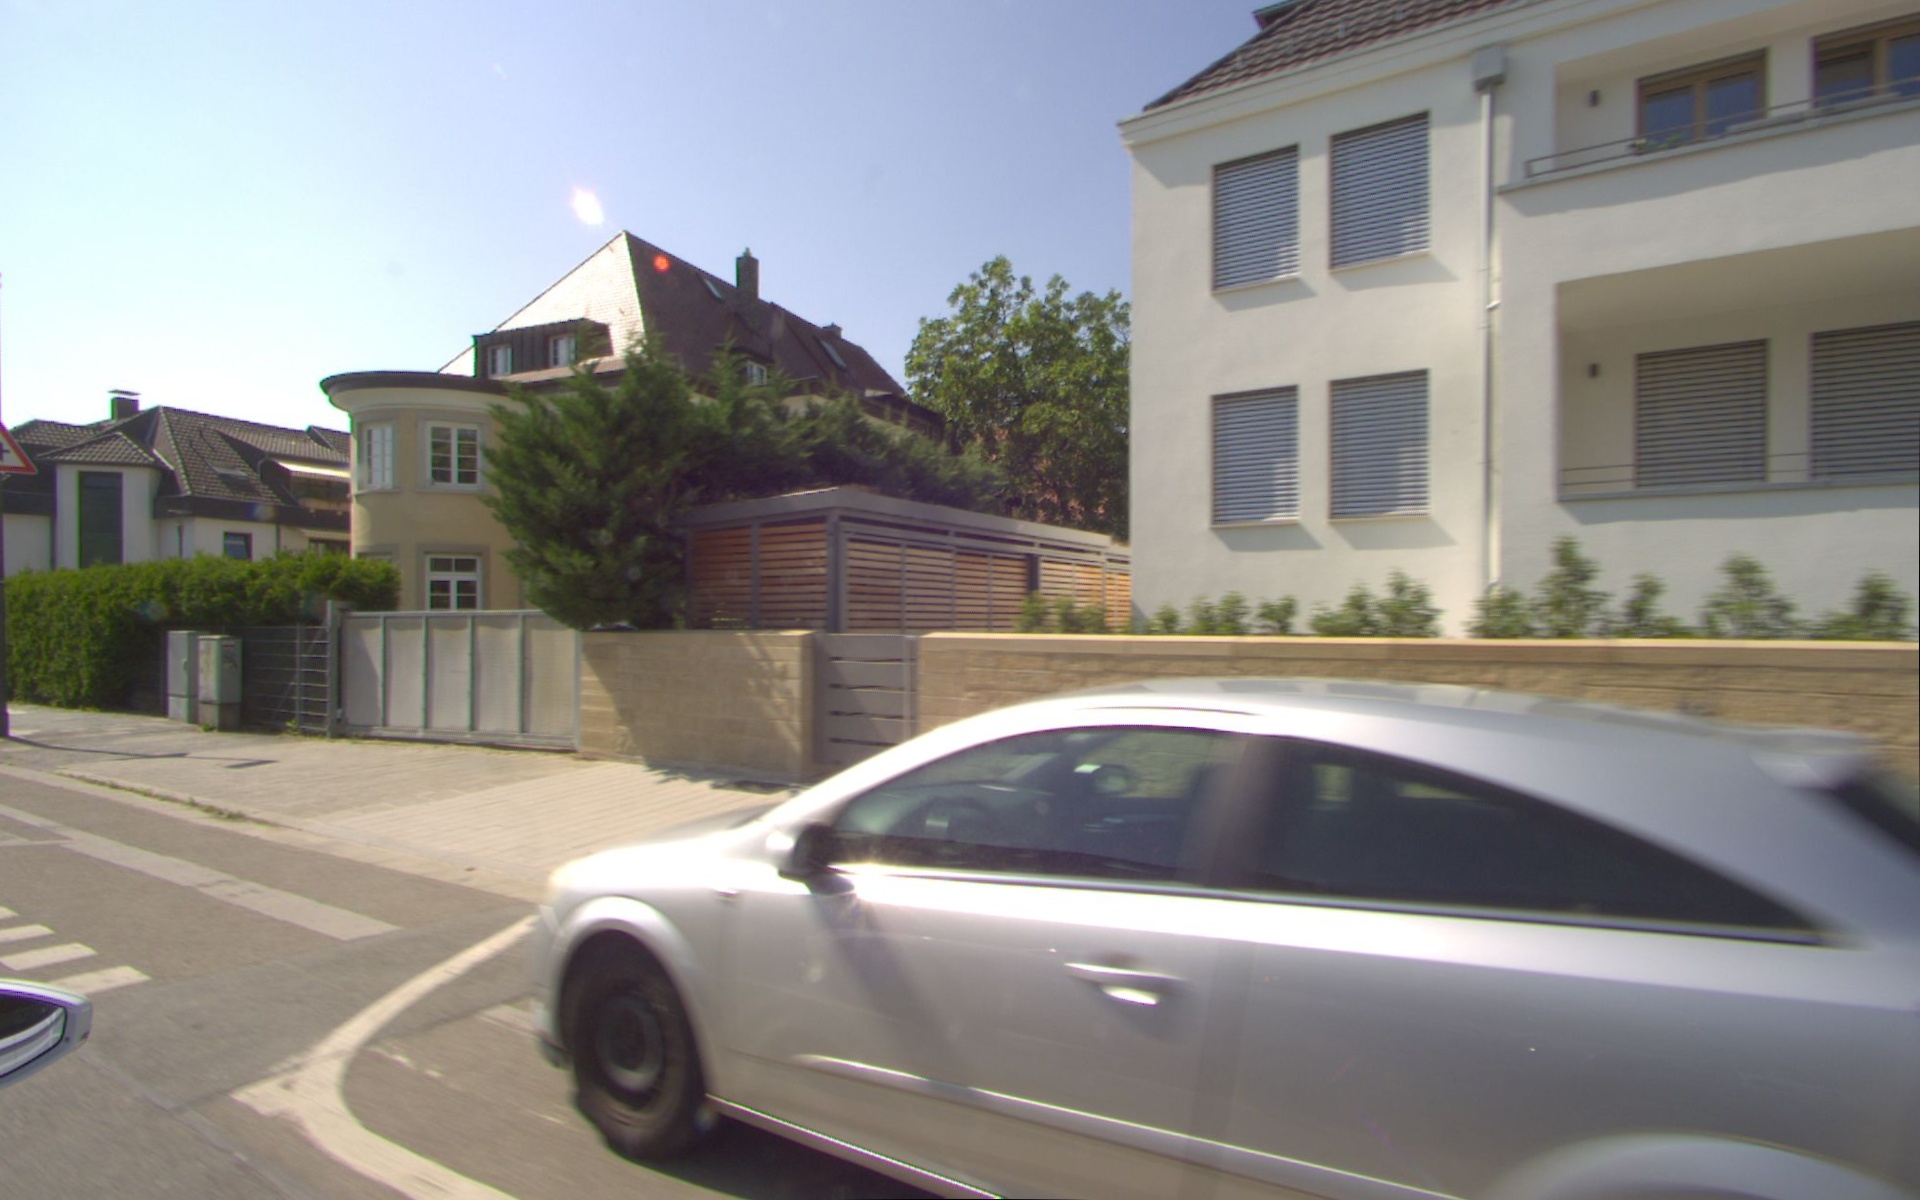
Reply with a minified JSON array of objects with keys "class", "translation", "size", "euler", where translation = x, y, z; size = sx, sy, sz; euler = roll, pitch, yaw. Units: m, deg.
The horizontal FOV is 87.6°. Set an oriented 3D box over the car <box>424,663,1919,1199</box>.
[{"class":"car","translation":[0.399,0.883,2.951],"size":[4.019,1.345,1.735],"euler":[-2,-5,33]}]
